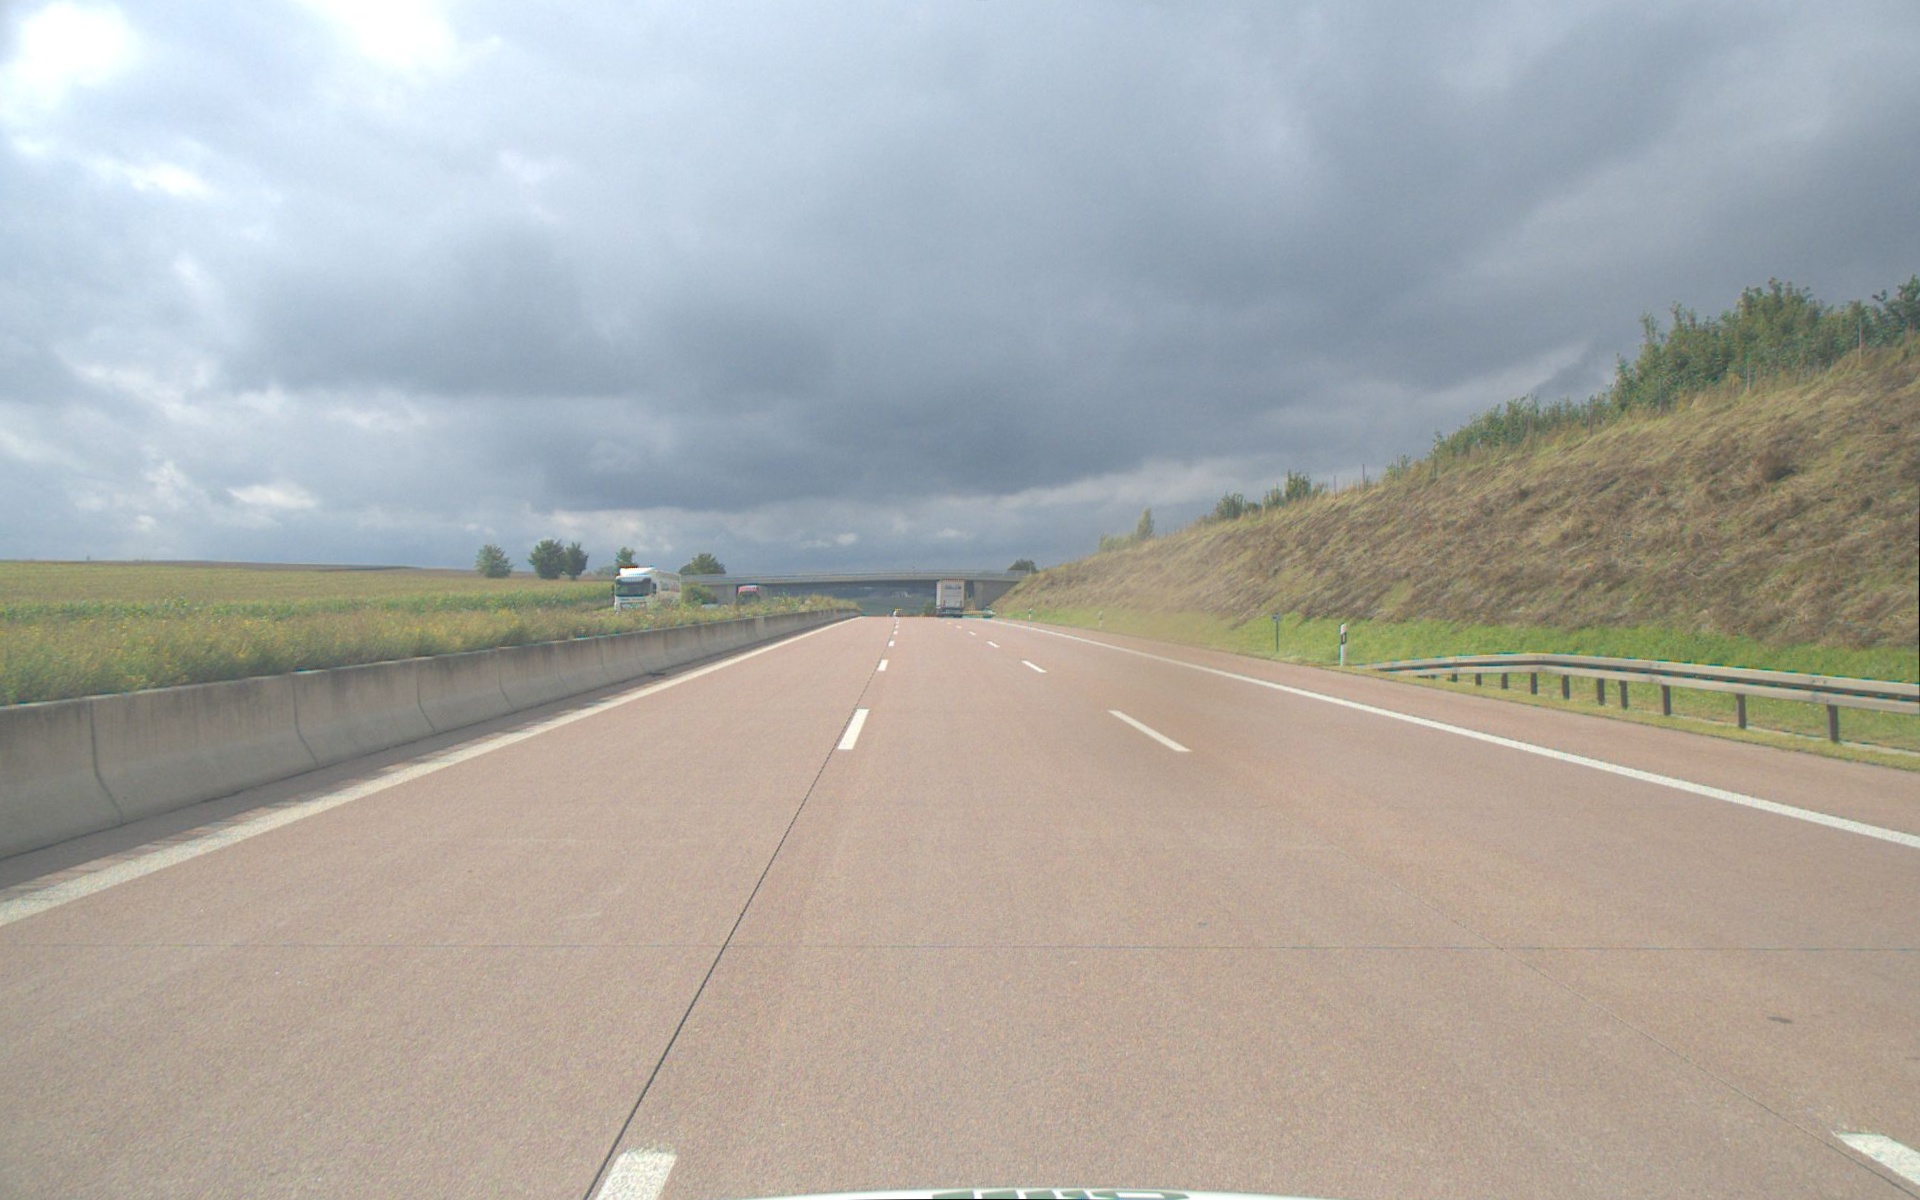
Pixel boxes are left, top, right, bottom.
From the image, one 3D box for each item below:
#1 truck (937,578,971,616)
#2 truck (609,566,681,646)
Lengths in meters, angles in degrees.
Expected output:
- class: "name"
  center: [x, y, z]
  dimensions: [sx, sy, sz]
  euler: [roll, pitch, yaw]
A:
- class: "truck"
  center: [-0.673, -0.376, 180.784]
  dimensions: [3.543, 4.014, 11.173]
  euler: [1, 0, 0]
- class: "truck"
  center: [-21.344, 0.337, 112.694]
  dimensions: [2.930, 5.154, 10.982]
  euler: [1, 0, -2]
